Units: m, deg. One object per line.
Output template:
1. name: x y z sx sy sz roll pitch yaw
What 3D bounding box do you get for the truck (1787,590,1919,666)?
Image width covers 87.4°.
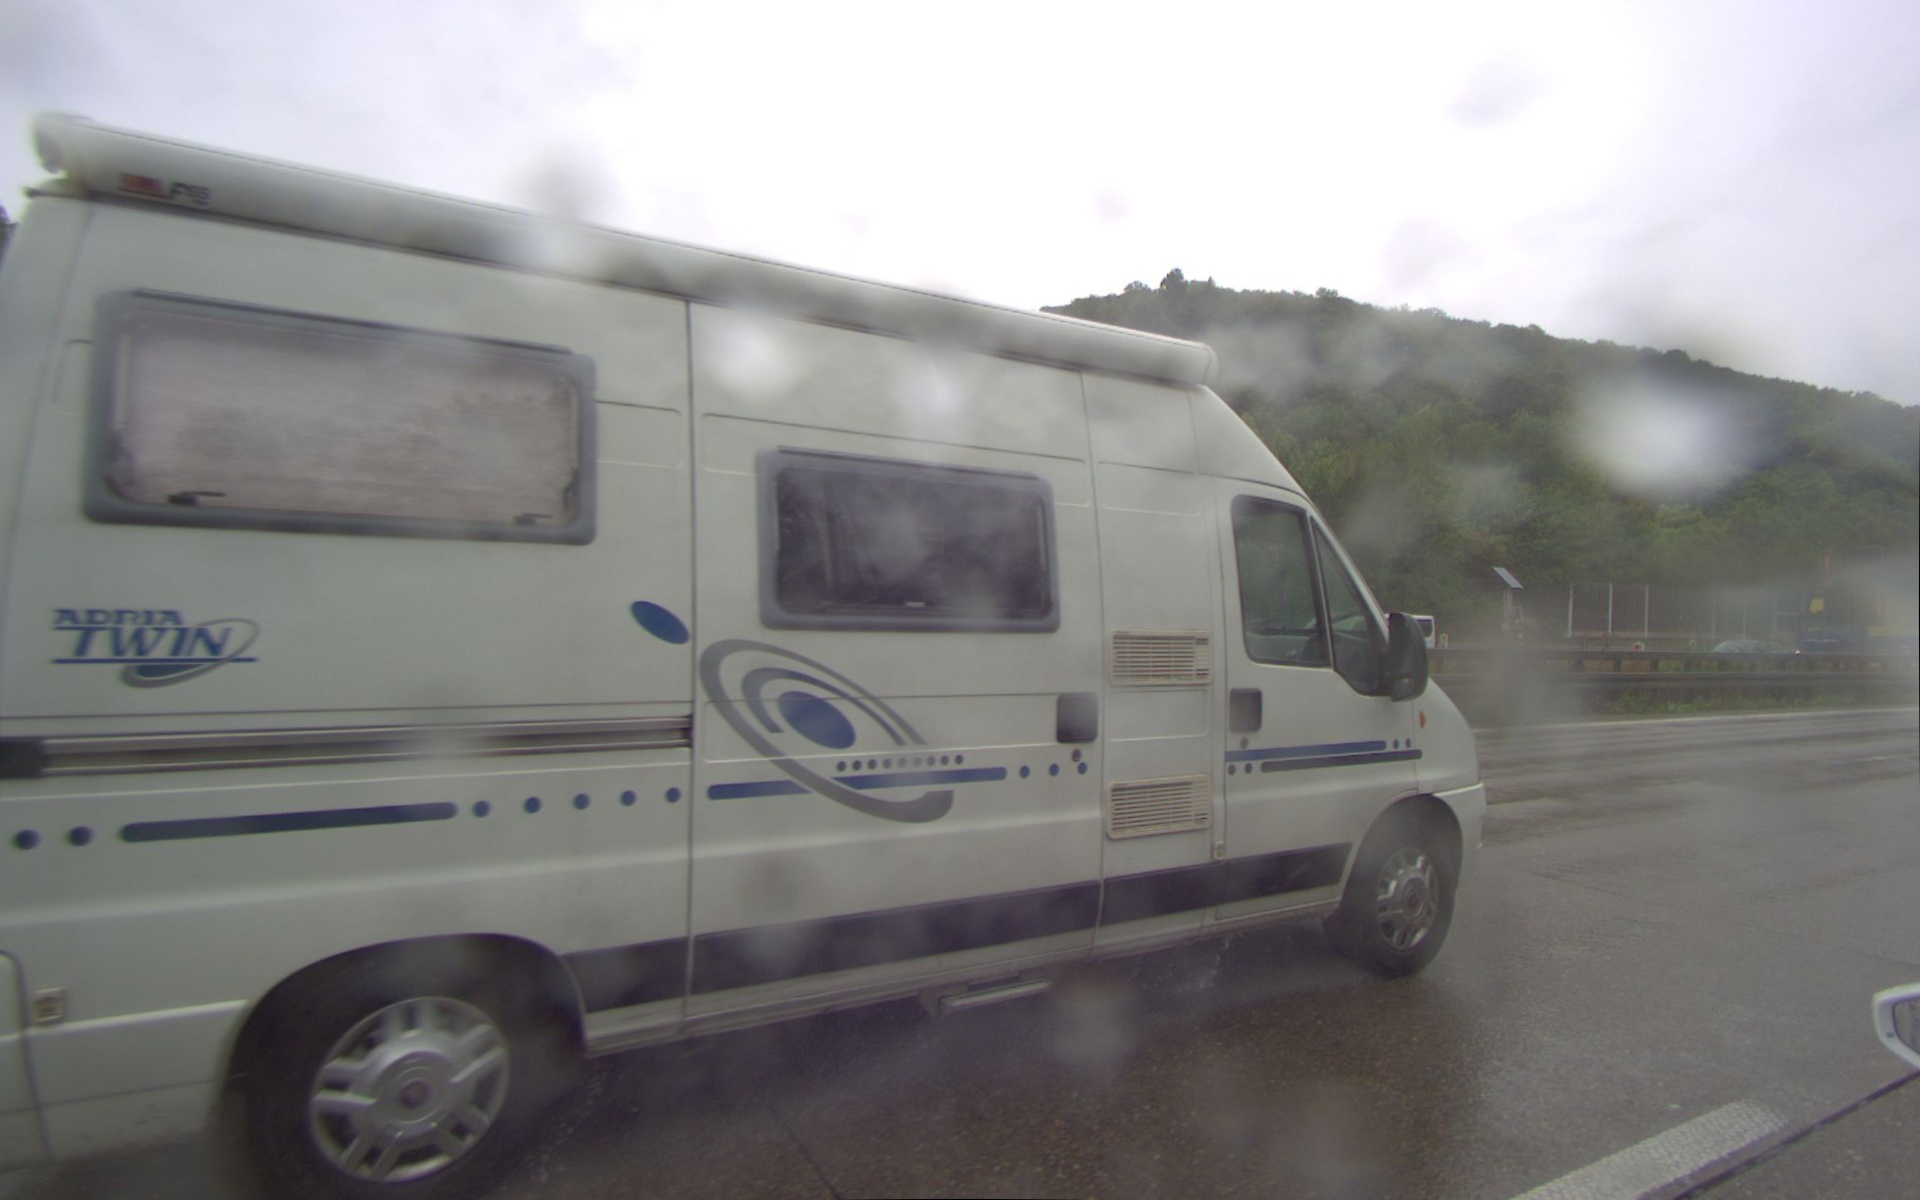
1. truck: 47.334 1.481 52.696 9.678 3.750 2.574 2 0 -28

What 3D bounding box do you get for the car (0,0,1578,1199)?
1. car: -0.149 0.171 4.003 5.723 2.464 1.988 2 0 -31

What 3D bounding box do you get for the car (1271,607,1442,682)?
1. car: 11.963 1.330 30.244 5.136 2.040 1.968 2 0 -30

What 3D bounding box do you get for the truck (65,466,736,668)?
1. truck: -10.646 -0.423 20.820 11.379 3.360 2.761 2 0 -30
